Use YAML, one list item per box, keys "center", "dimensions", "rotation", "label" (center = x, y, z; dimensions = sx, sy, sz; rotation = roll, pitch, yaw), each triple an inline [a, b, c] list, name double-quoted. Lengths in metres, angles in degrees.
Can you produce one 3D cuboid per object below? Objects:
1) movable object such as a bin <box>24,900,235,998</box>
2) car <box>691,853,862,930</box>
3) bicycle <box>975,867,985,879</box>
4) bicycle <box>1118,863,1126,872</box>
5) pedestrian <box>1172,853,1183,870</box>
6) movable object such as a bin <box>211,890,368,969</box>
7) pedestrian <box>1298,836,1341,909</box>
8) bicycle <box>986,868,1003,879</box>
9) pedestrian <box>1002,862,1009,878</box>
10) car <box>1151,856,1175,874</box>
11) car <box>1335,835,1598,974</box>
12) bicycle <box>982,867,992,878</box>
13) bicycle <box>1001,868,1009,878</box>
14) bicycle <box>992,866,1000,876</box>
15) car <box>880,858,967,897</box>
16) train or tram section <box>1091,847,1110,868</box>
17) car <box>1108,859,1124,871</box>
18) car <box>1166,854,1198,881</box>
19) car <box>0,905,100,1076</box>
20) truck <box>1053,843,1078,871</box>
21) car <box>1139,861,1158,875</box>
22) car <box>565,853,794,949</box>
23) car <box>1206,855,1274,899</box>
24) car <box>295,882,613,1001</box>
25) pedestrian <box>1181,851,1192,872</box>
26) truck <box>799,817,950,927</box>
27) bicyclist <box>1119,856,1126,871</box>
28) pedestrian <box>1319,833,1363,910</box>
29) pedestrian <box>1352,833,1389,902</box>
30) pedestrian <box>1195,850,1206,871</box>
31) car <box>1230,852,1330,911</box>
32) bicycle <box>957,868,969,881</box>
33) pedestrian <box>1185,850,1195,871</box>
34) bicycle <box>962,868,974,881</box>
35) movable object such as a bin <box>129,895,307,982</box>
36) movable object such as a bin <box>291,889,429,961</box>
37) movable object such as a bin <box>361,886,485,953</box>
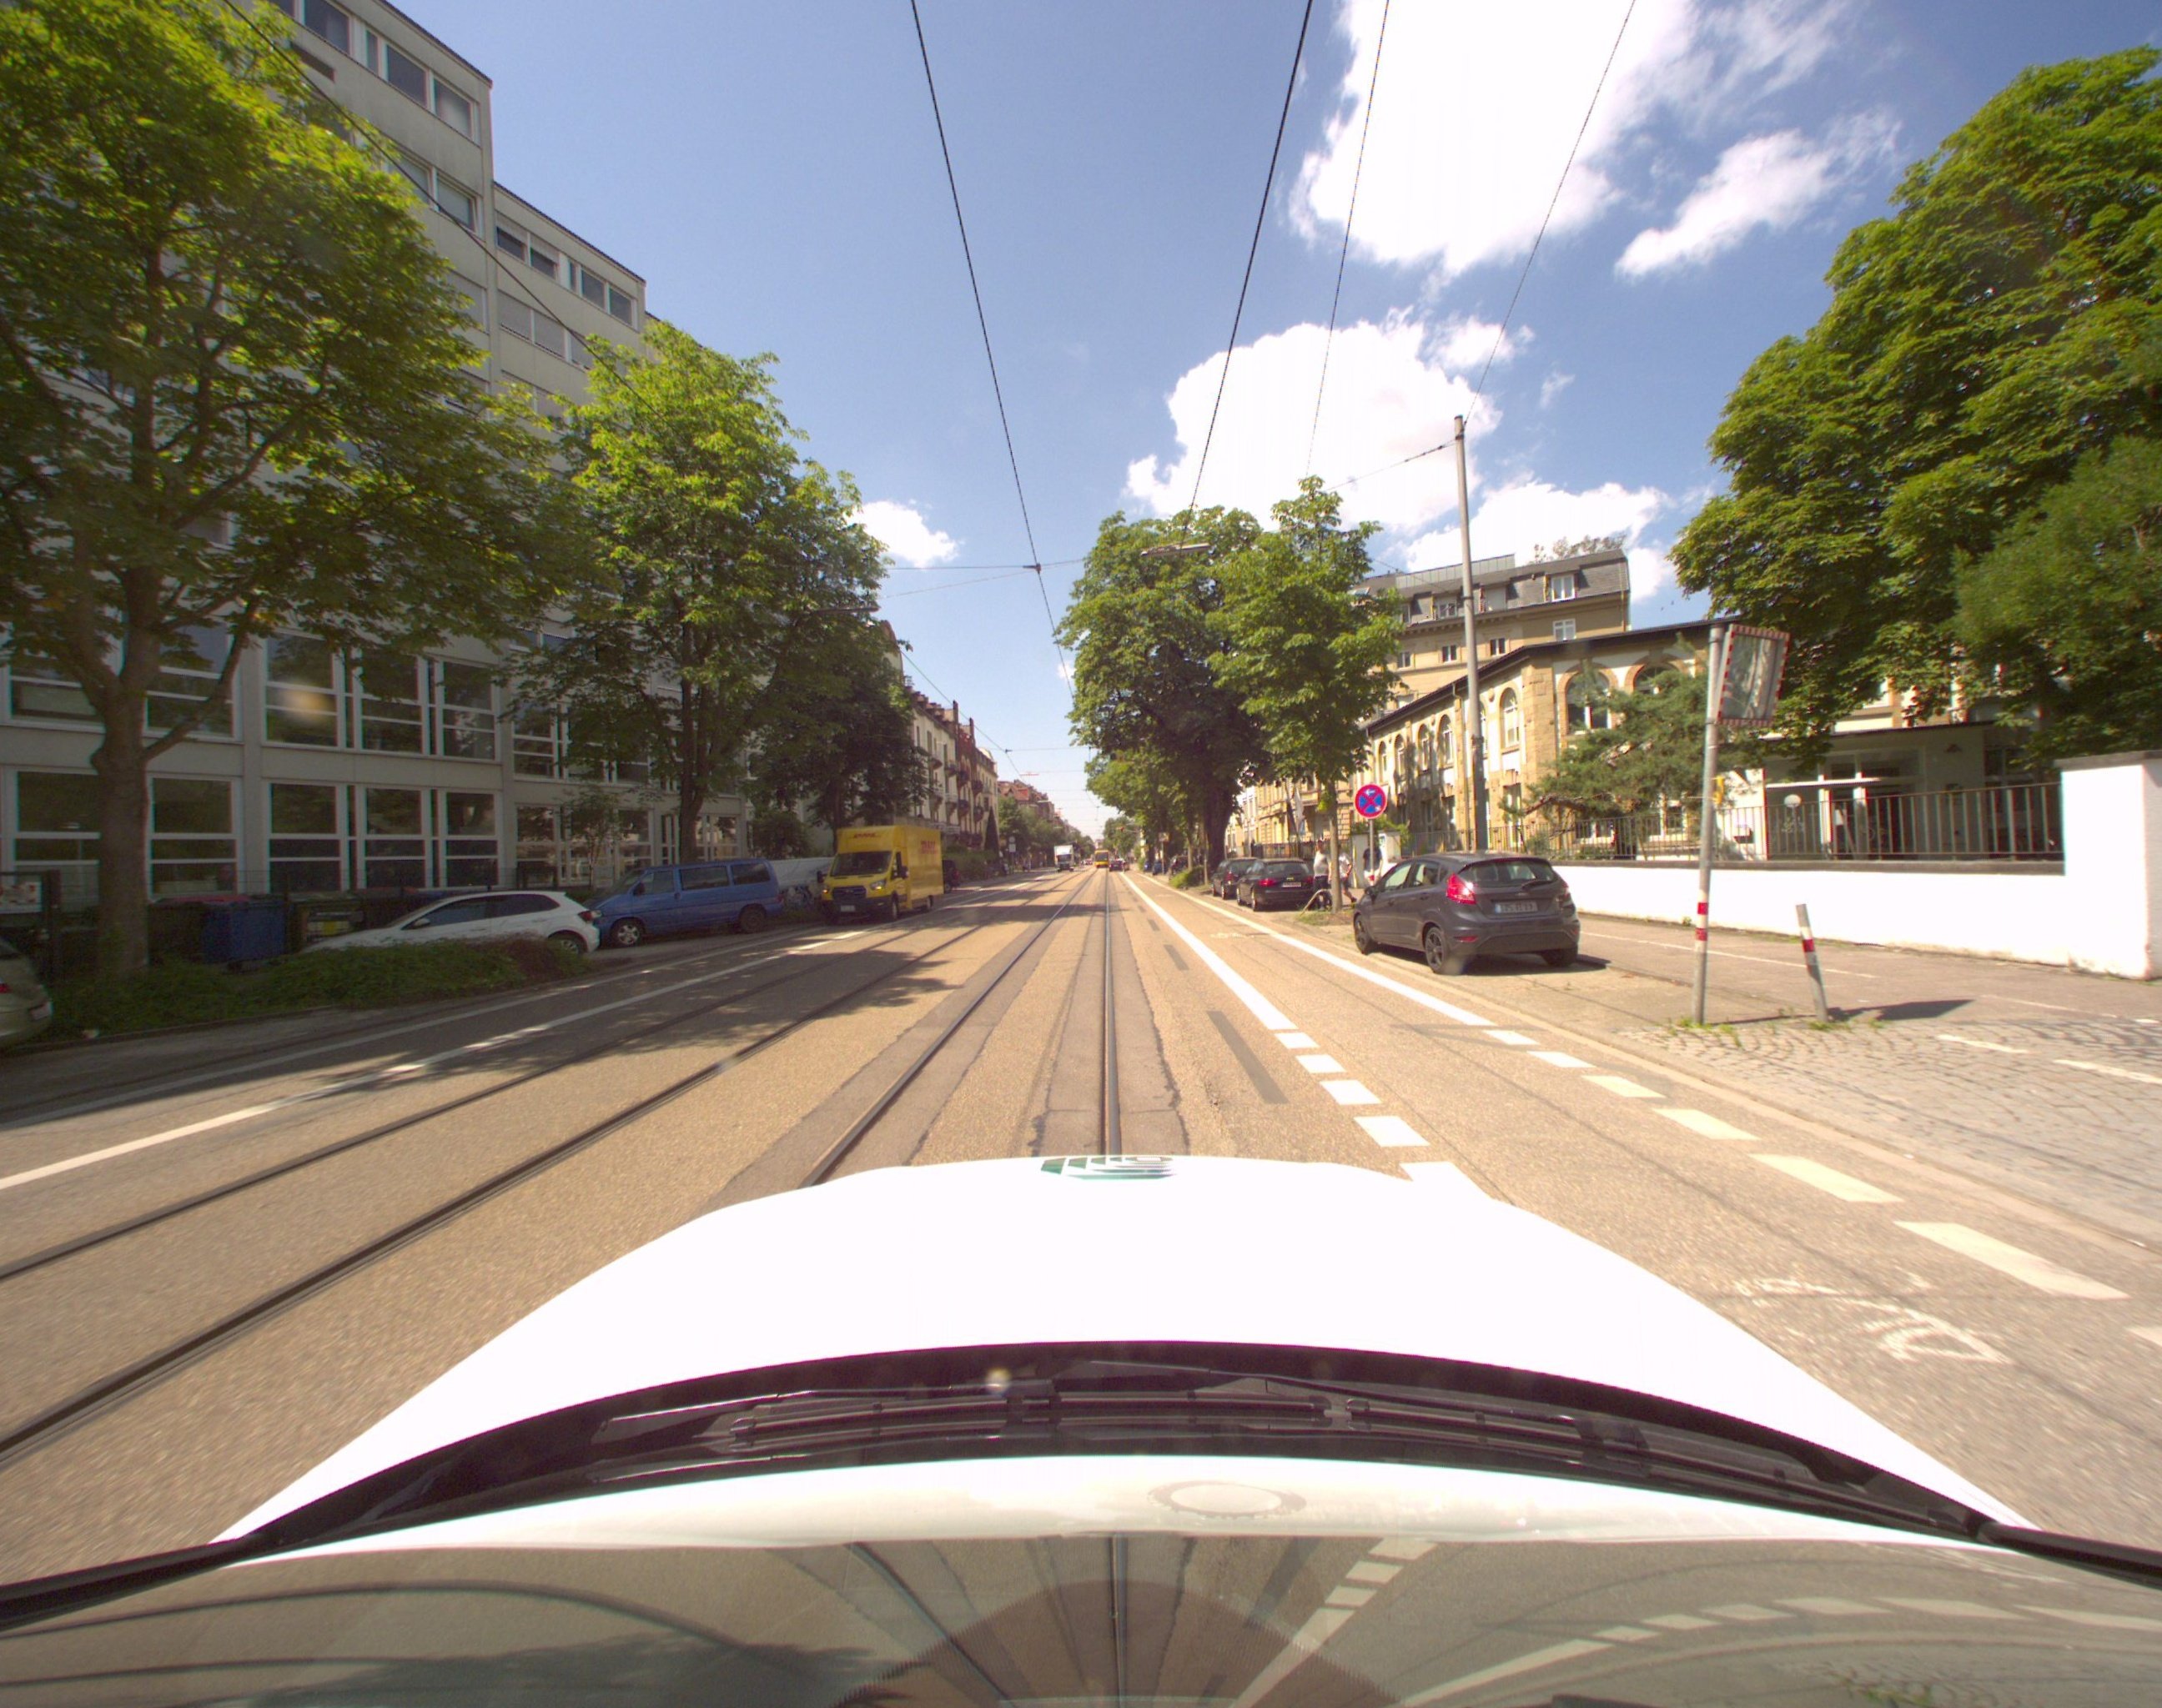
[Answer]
- center: [-15.968, 1.557, 13.744]
  dimensions: [1.756, 1.410, 1.490]
  rotation: [-3, -1, 1]
  label: "movable object such as a bin"
- center: [-9.920, 1.170, 26.705]
  dimensions: [4.786, 2.062, 2.003]
  rotation: [-3, 0, -38]
  label: "car"
- center: [-8.514, 1.583, 68.845]
  dimensions: [0.541, 0.969, 1.991]
  rotation: [-1, 0, 2]
  label: "bicycle"
- center: [4.463, 1.437, 88.329]
  dimensions: [0.634, 0.969, 1.786]
  rotation: [-1, -2, 11]
  label: "bicycle"
- center: [8.677, 0.667, 72.981]
  dimensions: [0.802, 1.530, 0.626]
  rotation: [-3, -2, 19]
  label: "pedestrian"
- center: [-16.210, 1.524, 16.744]
  dimensions: [1.756, 1.410, 1.424]
  rotation: [-3, -1, 1]
  label: "movable object such as a bin"
- center: [6.215, 0.488, 21.266]
  dimensions: [0.579, 1.859, 0.802]
  rotation: [-3, -1, -34]
  label: "pedestrian"
- center: [-7.559, 1.687, 71.366]
  dimensions: [0.538, 0.969, 1.792]
  rotation: [-2, -2, 31]
  label: "bicycle"
- center: [-7.661, 1.646, 82.650]
  dimensions: [0.570, 1.616, 0.817]
  rotation: [-2, -1, 2]
  label: "pedestrian"
- center: [7.145, 0.962, 71.373]
  dimensions: [1.705, 1.423, 4.310]
  rotation: [-3, -1, 1]
  label: "car"
- center: [4.996, 0.604, 11.201]
  dimensions: [1.634, 1.485, 3.870]
  rotation: [-3, -1, -2]
  label: "car"
- center: [-8.596, 1.662, 74.512]
  dimensions: [0.541, 0.969, 1.782]
  rotation: [-1, 0, 2]
  label: "bicycle"
- center: [-7.983, 1.991, 85.339]
  dimensions: [0.541, 0.969, 1.782]
  rotation: [-1, 1, 2]
  label: "bicycle"
- center: [-8.419, 1.673, 80.960]
  dimensions: [0.541, 0.969, 1.782]
  rotation: [-1, -1, 2]
  label: "bicycle"
- center: [-8.953, 1.327, 46.466]
  dimensions: [4.508, 1.940, 1.685]
  rotation: [-2, -2, -37]
  label: "car"
- center: [3.592, 0.608, 146.535]
  dimensions: [3.023, 3.438, 11.976]
  rotation: [-2, 0, 2]
  label: "train or tram section"
- center: [4.157, 1.294, 97.512]
  dimensions: [1.774, 1.346, 3.417]
  rotation: [-2, 0, 2]
  label: "car"
- center: [6.423, 0.865, 52.141]
  dimensions: [1.586, 1.616, 3.908]
  rotation: [-3, -1, 1]
  label: "car"
- center: [-11.149, 1.316, 6.688]
  dimensions: [3.731, 1.467, 1.741]
  rotation: [-3, -1, -44]
  label: "car"
- center: [-2.098, 0.393, 114.310]
  dimensions: [2.928, 3.550, 8.456]
  rotation: [-3, 0, 2]
  label: "truck"
- center: [7.399, 1.491, 89.703]
  dimensions: [1.705, 1.423, 4.310]
  rotation: [-3, -1, 1]
  label: "car"
- center: [-9.997, 1.098, 20.554]
  dimensions: [4.759, 1.955, 1.824]
  rotation: [-3, -1, -44]
  label: "car"
- center: [5.793, 0.809, 30.091]
  dimensions: [1.705, 1.423, 4.244]
  rotation: [-3, -1, 1]
  label: "car"
- center: [-10.556, 1.386, 13.923]
  dimensions: [1.740, 1.433, 4.025]
  rotation: [-6, -1, 43]
  label: "car"
- center: [9.302, 0.662, 71.816]
  dimensions: [0.806, 1.860, 0.576]
  rotation: [-2, -2, -1]
  label: "pedestrian"
- center: [-6.181, 0.481, 25.672]
  dimensions: [2.351, 2.852, 7.384]
  rotation: [-3, 0, 3]
  label: "truck"
- center: [4.466, 0.991, 88.484]
  dimensions: [0.618, 1.616, 0.867]
  rotation: [-1, -2, 11]
  label: "bicyclist"
- center: [6.414, 0.430, 20.094]
  dimensions: [0.579, 1.859, 0.718]
  rotation: [-3, -1, -34]
  label: "pedestrian"
- center: [7.440, 0.354, 20.913]
  dimensions: [0.480, 1.737, 0.614]
  rotation: [-3, -2, -34]
  label: "pedestrian"
- center: [10.568, 0.594, 72.221]
  dimensions: [0.806, 1.860, 0.623]
  rotation: [-2, -2, -1]
  label: "pedestrian"
- center: [5.629, 0.749, 23.615]
  dimensions: [1.869, 1.455, 4.530]
  rotation: [-3, -1, 2]
  label: "car"
- center: [-8.880, 1.564, 61.446]
  dimensions: [0.541, 0.969, 1.991]
  rotation: [-1, -1, 2]
  label: "bicycle"
- center: [9.866, 0.608, 73.760]
  dimensions: [0.806, 1.860, 0.623]
  rotation: [-2, -2, -1]
  label: "pedestrian"
- center: [-8.795, 1.615, 63.501]
  dimensions: [0.541, 0.969, 1.990]
  rotation: [-1, -2, 2]
  label: "bicycle"
- center: [-16.128, 1.551, 15.290]
  dimensions: [1.756, 1.410, 1.424]
  rotation: [-3, -1, 1]
  label: "movable object such as a bin"
- center: [-16.065, 1.556, 18.218]
  dimensions: [1.756, 1.410, 1.424]
  rotation: [-3, -1, 1]
  label: "movable object such as a bin"
- center: [-15.871, 1.554, 19.707]
  dimensions: [1.756, 1.410, 1.424]
  rotation: [-3, -1, 1]
  label: "movable object such as a bin"
